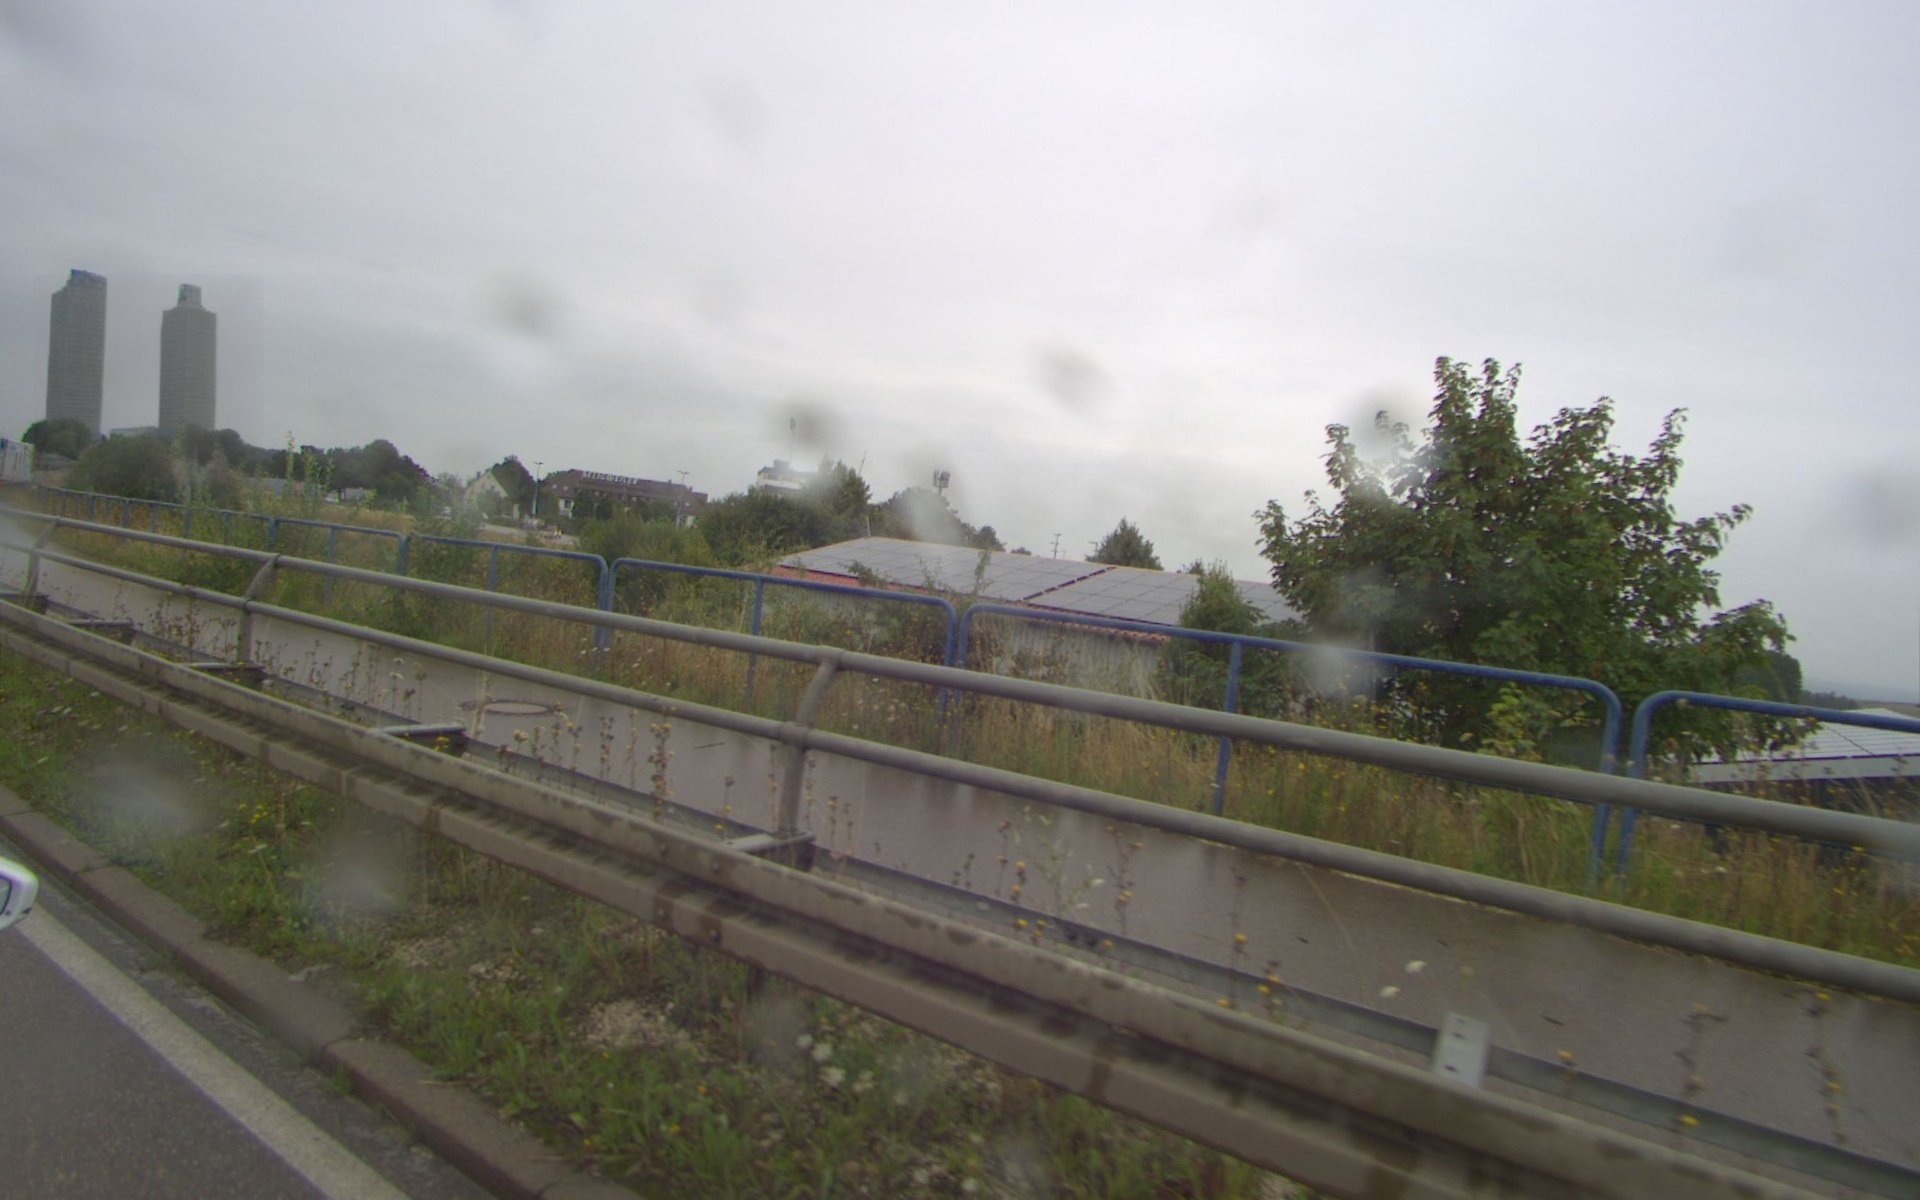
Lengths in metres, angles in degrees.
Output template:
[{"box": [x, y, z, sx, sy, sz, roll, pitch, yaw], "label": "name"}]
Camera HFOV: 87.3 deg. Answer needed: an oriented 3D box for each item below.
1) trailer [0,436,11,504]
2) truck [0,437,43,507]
[{"box": [-56.754, -7.742, 56.468, 3.182, 3.968, 8.662, 8, -1, -33], "label": "trailer"}, {"box": [-61.474, -8.231, 63.761, 3.182, 3.968, 8.662, 8, -1, -33], "label": "truck"}]
